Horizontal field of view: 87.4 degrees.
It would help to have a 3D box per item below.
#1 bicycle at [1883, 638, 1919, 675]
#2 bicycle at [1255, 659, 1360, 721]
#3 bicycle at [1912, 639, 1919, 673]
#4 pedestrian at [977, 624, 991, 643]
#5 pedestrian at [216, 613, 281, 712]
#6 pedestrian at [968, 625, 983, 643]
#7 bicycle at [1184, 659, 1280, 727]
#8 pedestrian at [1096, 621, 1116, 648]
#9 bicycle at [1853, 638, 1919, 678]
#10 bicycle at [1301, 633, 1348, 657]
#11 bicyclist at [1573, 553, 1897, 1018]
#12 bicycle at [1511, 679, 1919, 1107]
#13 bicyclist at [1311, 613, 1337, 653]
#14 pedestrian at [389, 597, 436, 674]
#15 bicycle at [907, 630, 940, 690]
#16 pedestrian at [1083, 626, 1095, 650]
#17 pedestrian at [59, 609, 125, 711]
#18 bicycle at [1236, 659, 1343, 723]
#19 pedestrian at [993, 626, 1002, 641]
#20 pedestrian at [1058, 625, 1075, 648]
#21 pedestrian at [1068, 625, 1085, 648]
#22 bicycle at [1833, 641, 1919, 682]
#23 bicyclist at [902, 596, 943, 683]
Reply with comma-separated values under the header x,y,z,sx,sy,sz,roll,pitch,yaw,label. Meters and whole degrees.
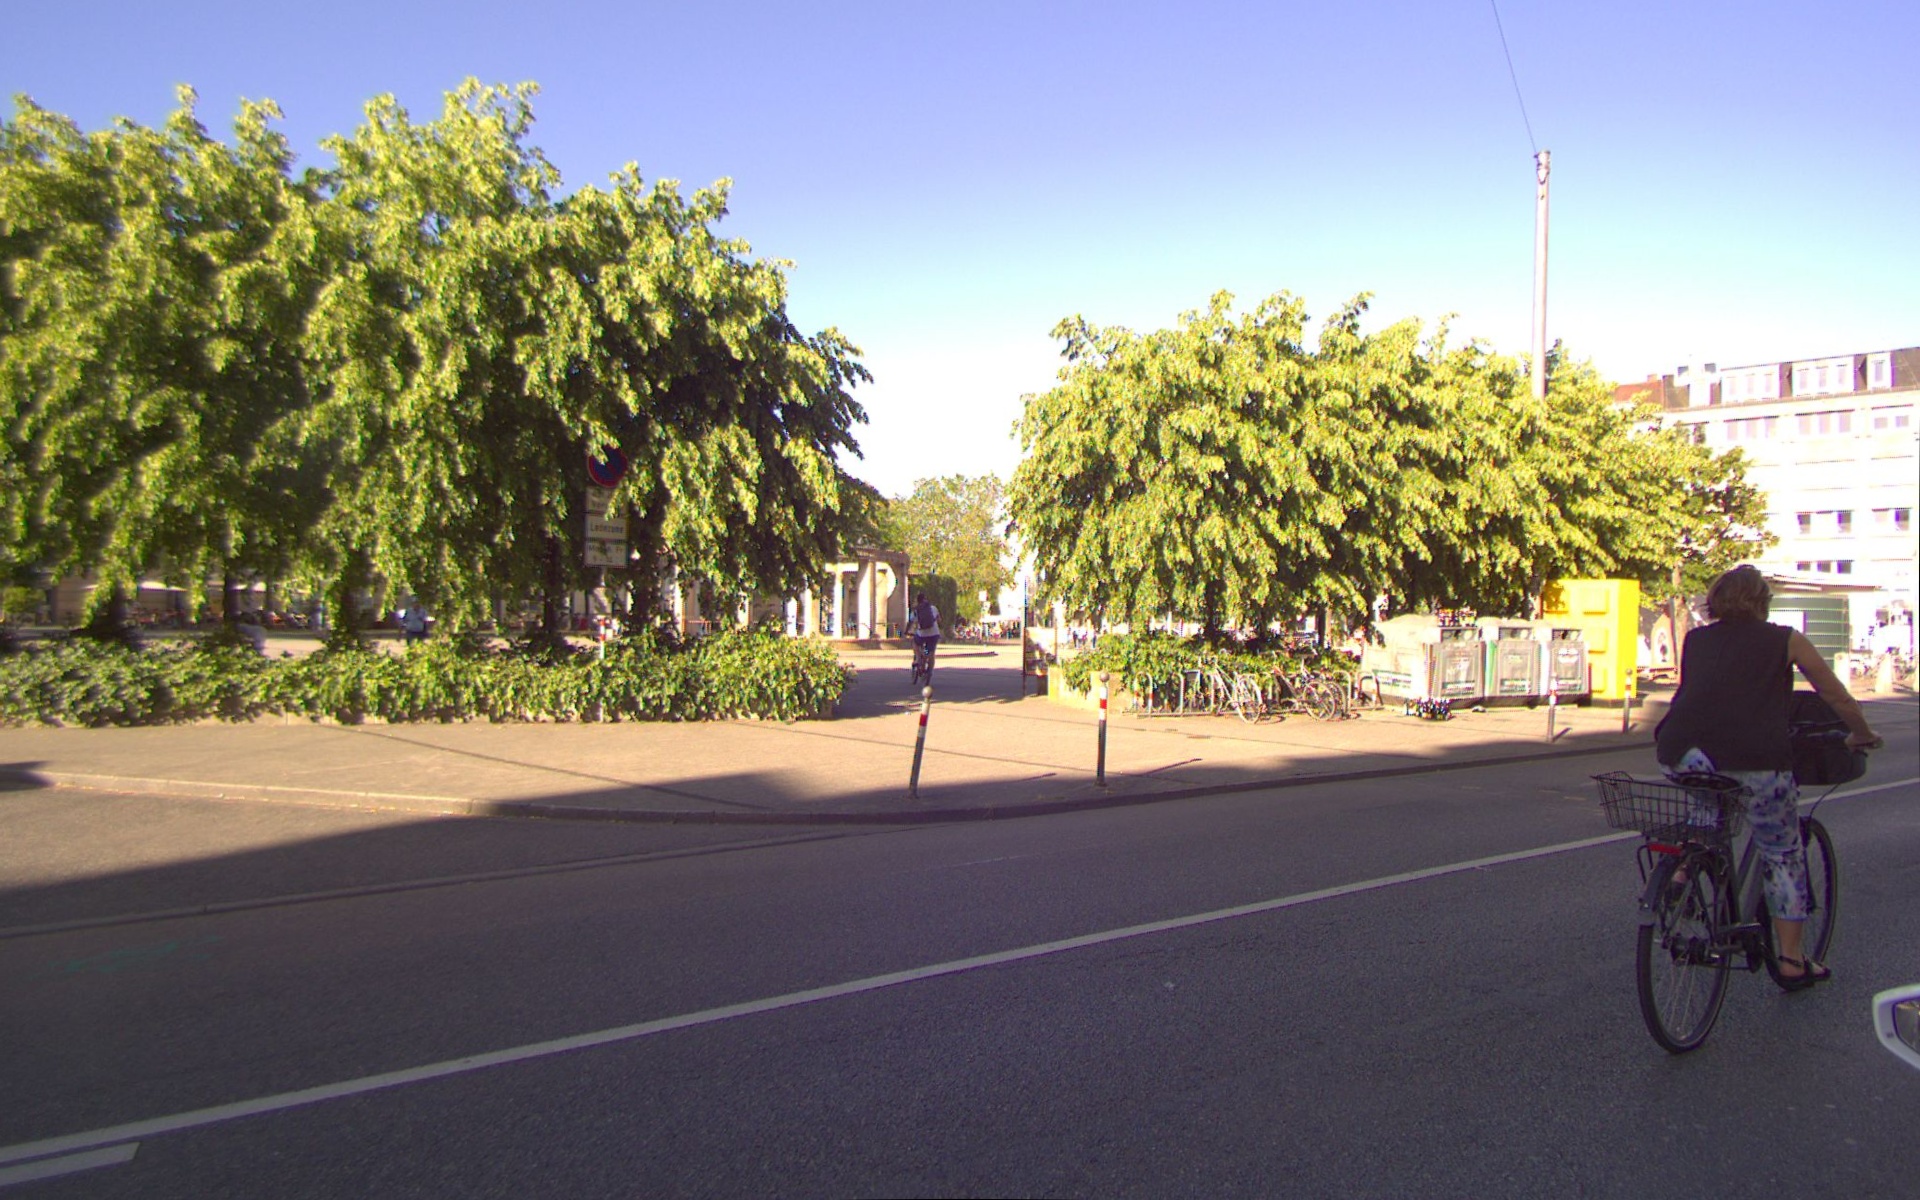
x,y,z,sx,sy,sz,roll,pitch,yaw,label
35.268,2.083,36.136,0.932,1.287,2.859,2,0,-32,bicycle
5.680,1.453,16.484,0.465,0.870,1.654,2,0,-35,bicycle
37.252,2.154,37.281,0.932,1.276,2.648,2,0,-32,bicycle
2.048,2.861,85.358,0.867,1.557,0.894,2,0,33,pedestrian
-10.844,0.934,15.304,0.581,1.456,0.615,2,0,33,pedestrian
1.332,2.938,85.915,0.867,1.497,0.940,2,0,42,pedestrian
4.182,1.410,15.530,0.464,0.897,1.558,2,0,-29,bicycle
10.680,2.511,73.468,1.274,1.867,1.102,2,0,3,pedestrian
33.150,2.039,35.070,0.923,1.291,2.764,2,0,-32,bicycle
12.937,1.593,35.718,0.571,0.834,1.853,1,-3,-17,bicycle
2.882,0.609,3.743,0.946,1.504,0.603,2,0,-29,bicyclist
3.018,0.960,3.841,1.976,1.239,0.625,1,0,-29,bicycle
12.951,1.176,35.746,0.566,1.399,0.706,2,-3,-17,bicyclist
-11.242,0.725,20.641,0.688,1.541,0.676,2,0,-41,pedestrian
-0.773,1.217,20.779,0.594,1.116,1.988,2,0,-4,bicycle
8.551,2.501,66.739,0.761,1.541,0.838,2,0,6,pedestrian
-12.852,0.871,14.887,0.615,1.456,0.647,2,0,-32,pedestrian
5.281,1.443,16.189,0.465,0.870,1.659,2,0,-35,bicycle
3.879,3.511,104.472,0.744,1.557,0.673,2,0,-12,pedestrian
7.182,2.464,67.700,0.904,1.541,0.936,2,0,15,pedestrian
8.195,2.547,70.710,1.003,1.541,1.036,2,0,15,pedestrian
31.228,2.063,33.768,0.932,1.211,2.645,2,0,-32,bicycle
-0.778,0.788,20.616,0.773,1.722,0.895,2,0,-5,bicyclist
